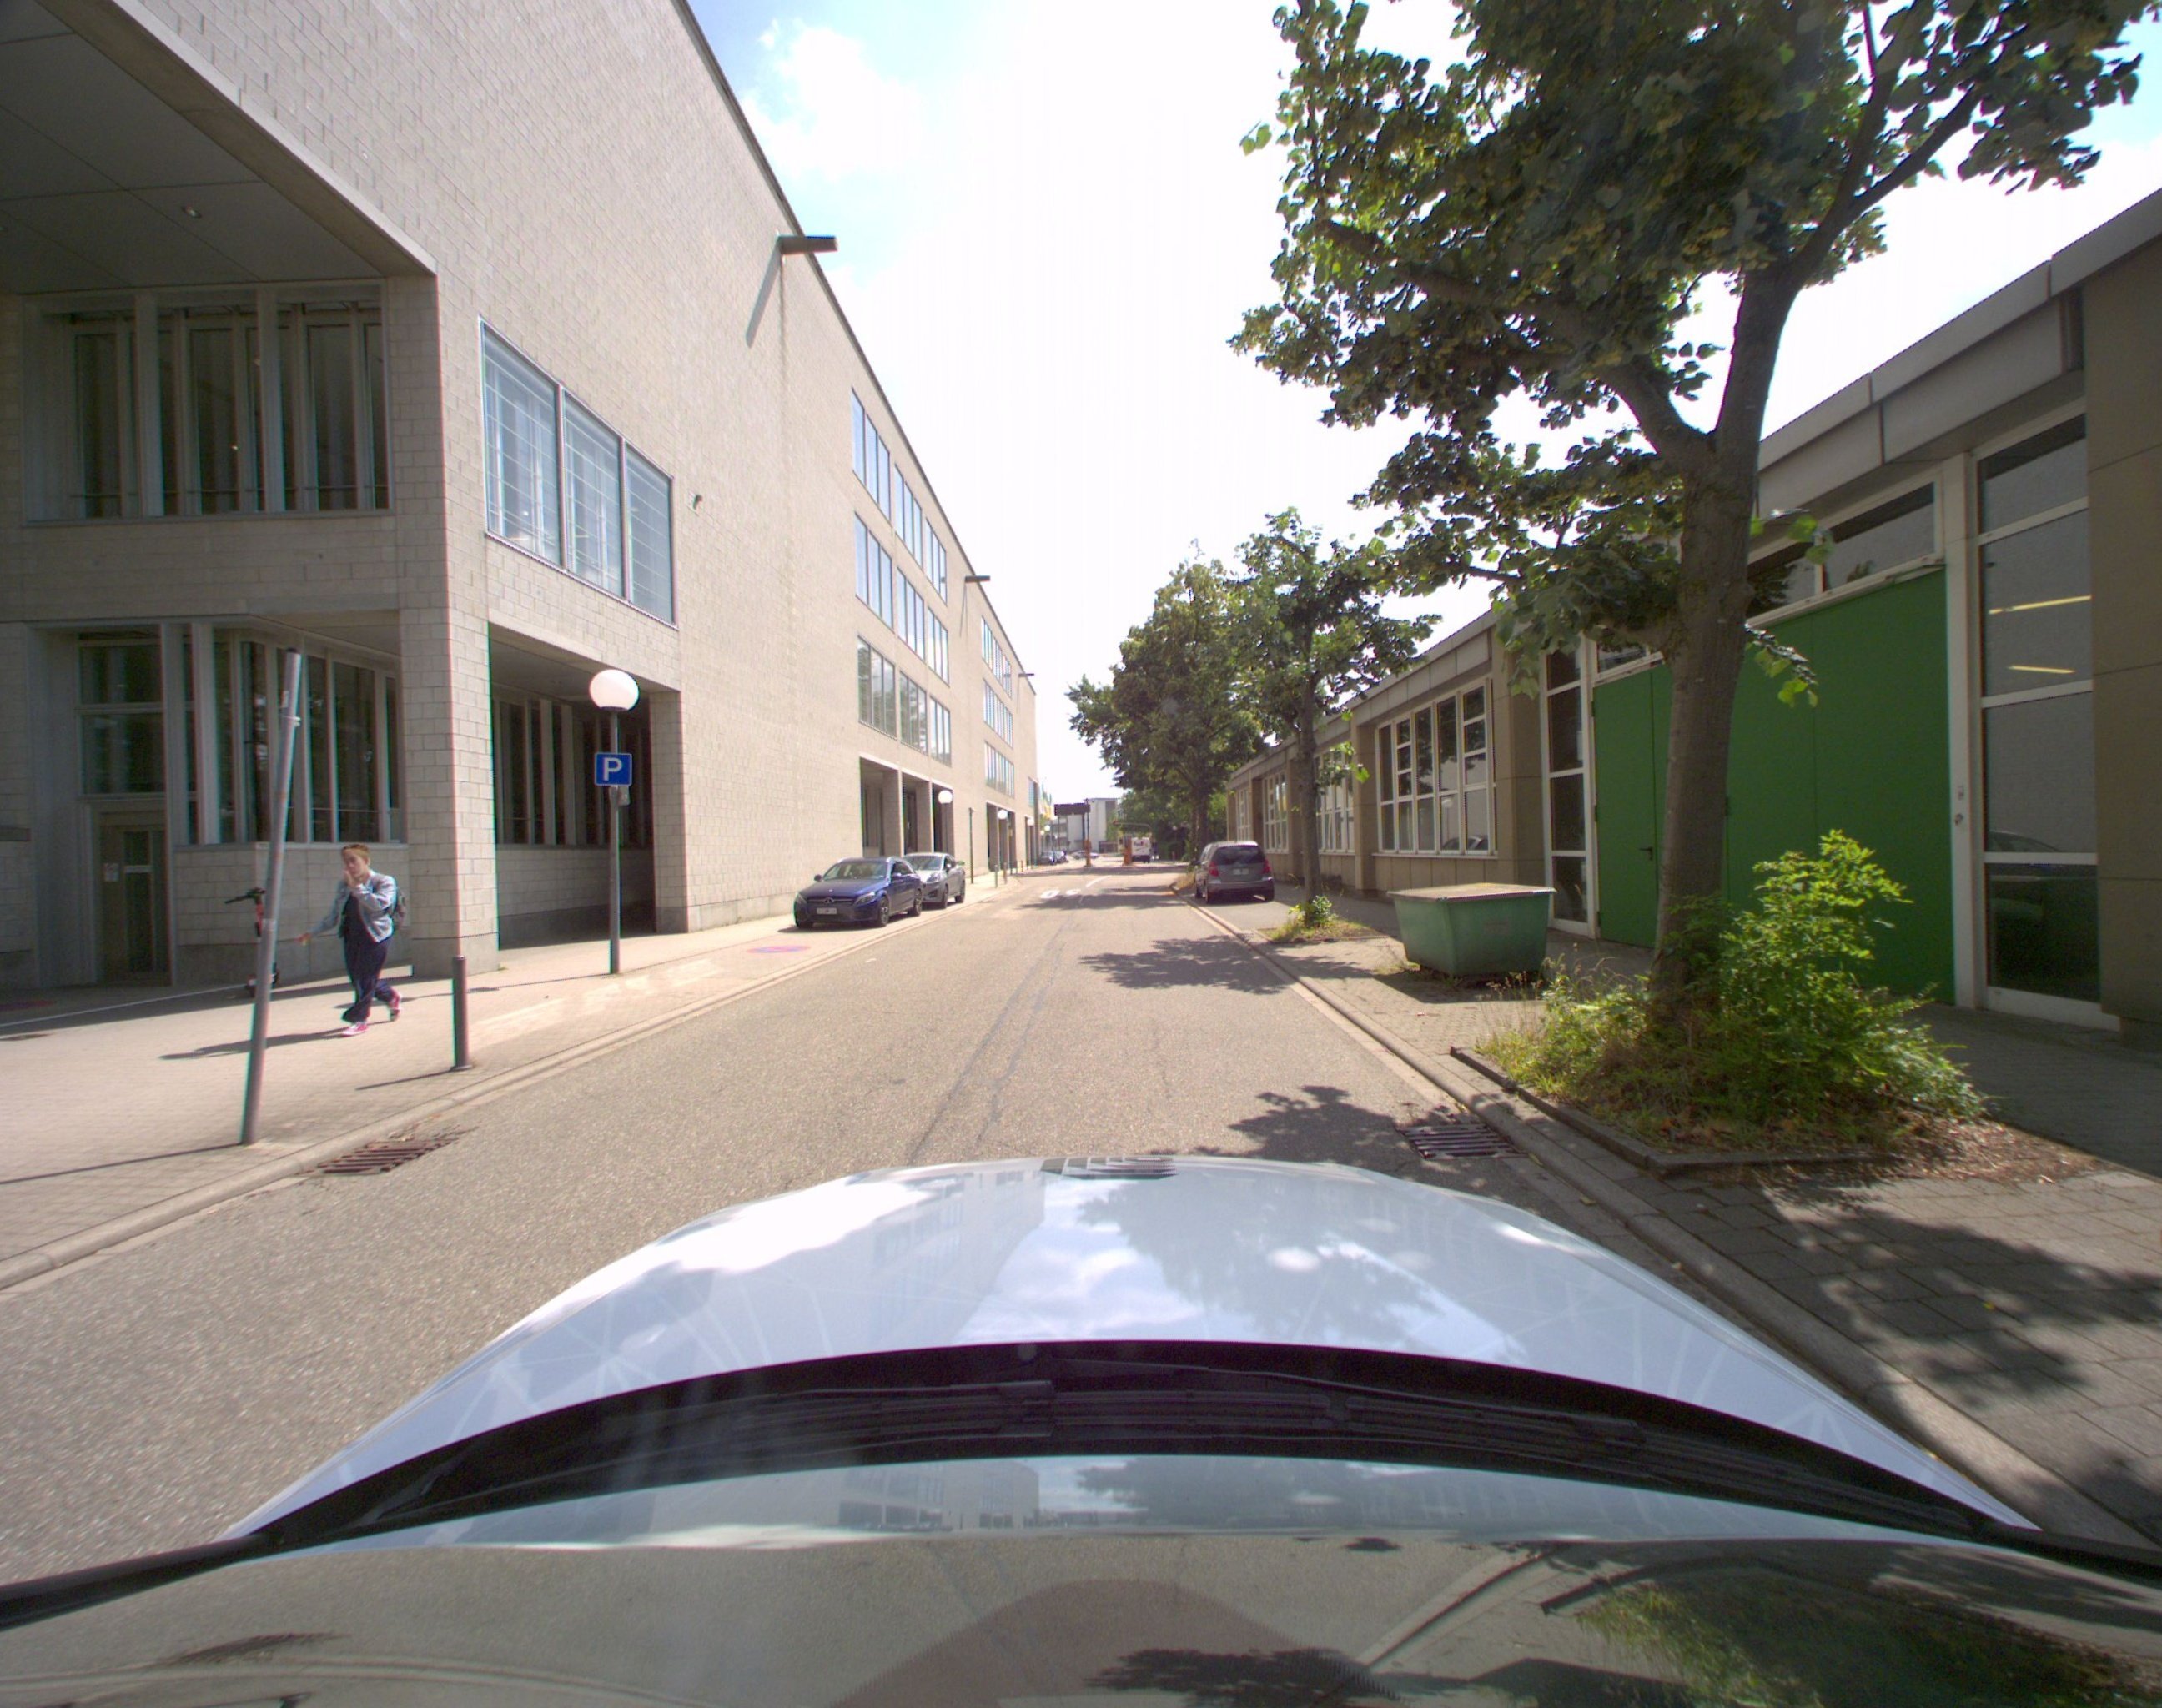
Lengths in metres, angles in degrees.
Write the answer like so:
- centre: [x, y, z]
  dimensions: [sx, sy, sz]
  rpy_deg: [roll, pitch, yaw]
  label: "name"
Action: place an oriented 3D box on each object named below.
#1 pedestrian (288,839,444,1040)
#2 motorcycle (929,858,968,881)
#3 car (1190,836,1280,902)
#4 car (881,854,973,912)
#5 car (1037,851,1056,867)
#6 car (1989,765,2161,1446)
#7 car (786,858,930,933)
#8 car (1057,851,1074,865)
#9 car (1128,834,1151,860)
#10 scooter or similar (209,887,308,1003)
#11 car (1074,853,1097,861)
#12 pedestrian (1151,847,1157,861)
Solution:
- centre: [-6.515, 0.733, 7.478]
  dimensions: [0.649, 1.701, 0.887]
  rpy_deg: [-2, 0, -8]
  label: "pedestrian"
- centre: [-6.854, 0.775, 42.069]
  dimensions: [1.857, 1.105, 0.656]
  rpy_deg: [-2, 0, -18]
  label: "motorcycle"
- centre: [4.141, 0.366, 22.498]
  dimensions: [1.851, 1.574, 4.003]
  rpy_deg: [-3, 0, 3]
  label: "car"
- centre: [-4.344, 0.768, 23.549]
  dimensions: [1.624, 1.484, 4.181]
  rpy_deg: [-2, 0, 3]
  label: "car"
- centre: [-3.515, 0.543, 83.390]
  dimensions: [1.639, 1.498, 3.730]
  rpy_deg: [-2, -2, 2]
  label: "car"
- centre: [3.152, 0.558, 0.254]
  dimensions: [1.610, 1.538, 3.782]
  rpy_deg: [-2, 0, 3]
  label: "car"
- centre: [-4.811, 0.829, 18.225]
  dimensions: [1.758, 1.427, 4.239]
  rpy_deg: [-2, 0, 4]
  label: "car"
- centre: [-1.778, 0.482, 95.359]
  dimensions: [1.639, 1.498, 3.730]
  rpy_deg: [-2, -2, 2]
  label: "car"
- centre: [5.901, -0.676, 82.537]
  dimensions: [2.075, 2.539, 4.318]
  rpy_deg: [-1, 0, 2]
  label: "car"
- centre: [-9.674, 1.020, 9.628]
  dimensions: [0.529, 1.210, 1.541]
  rpy_deg: [-2, 0, -35]
  label: "scooter or similar"
- centre: [0.719, 0.488, 136.199]
  dimensions: [3.712, 1.329, 1.669]
  rpy_deg: [-2, 0, 4]
  label: "car"
- centre: [9.144, -0.054, 101.981]
  dimensions: [0.657, 1.729, 0.635]
  rpy_deg: [-2, 0, 1]
  label: "pedestrian"
